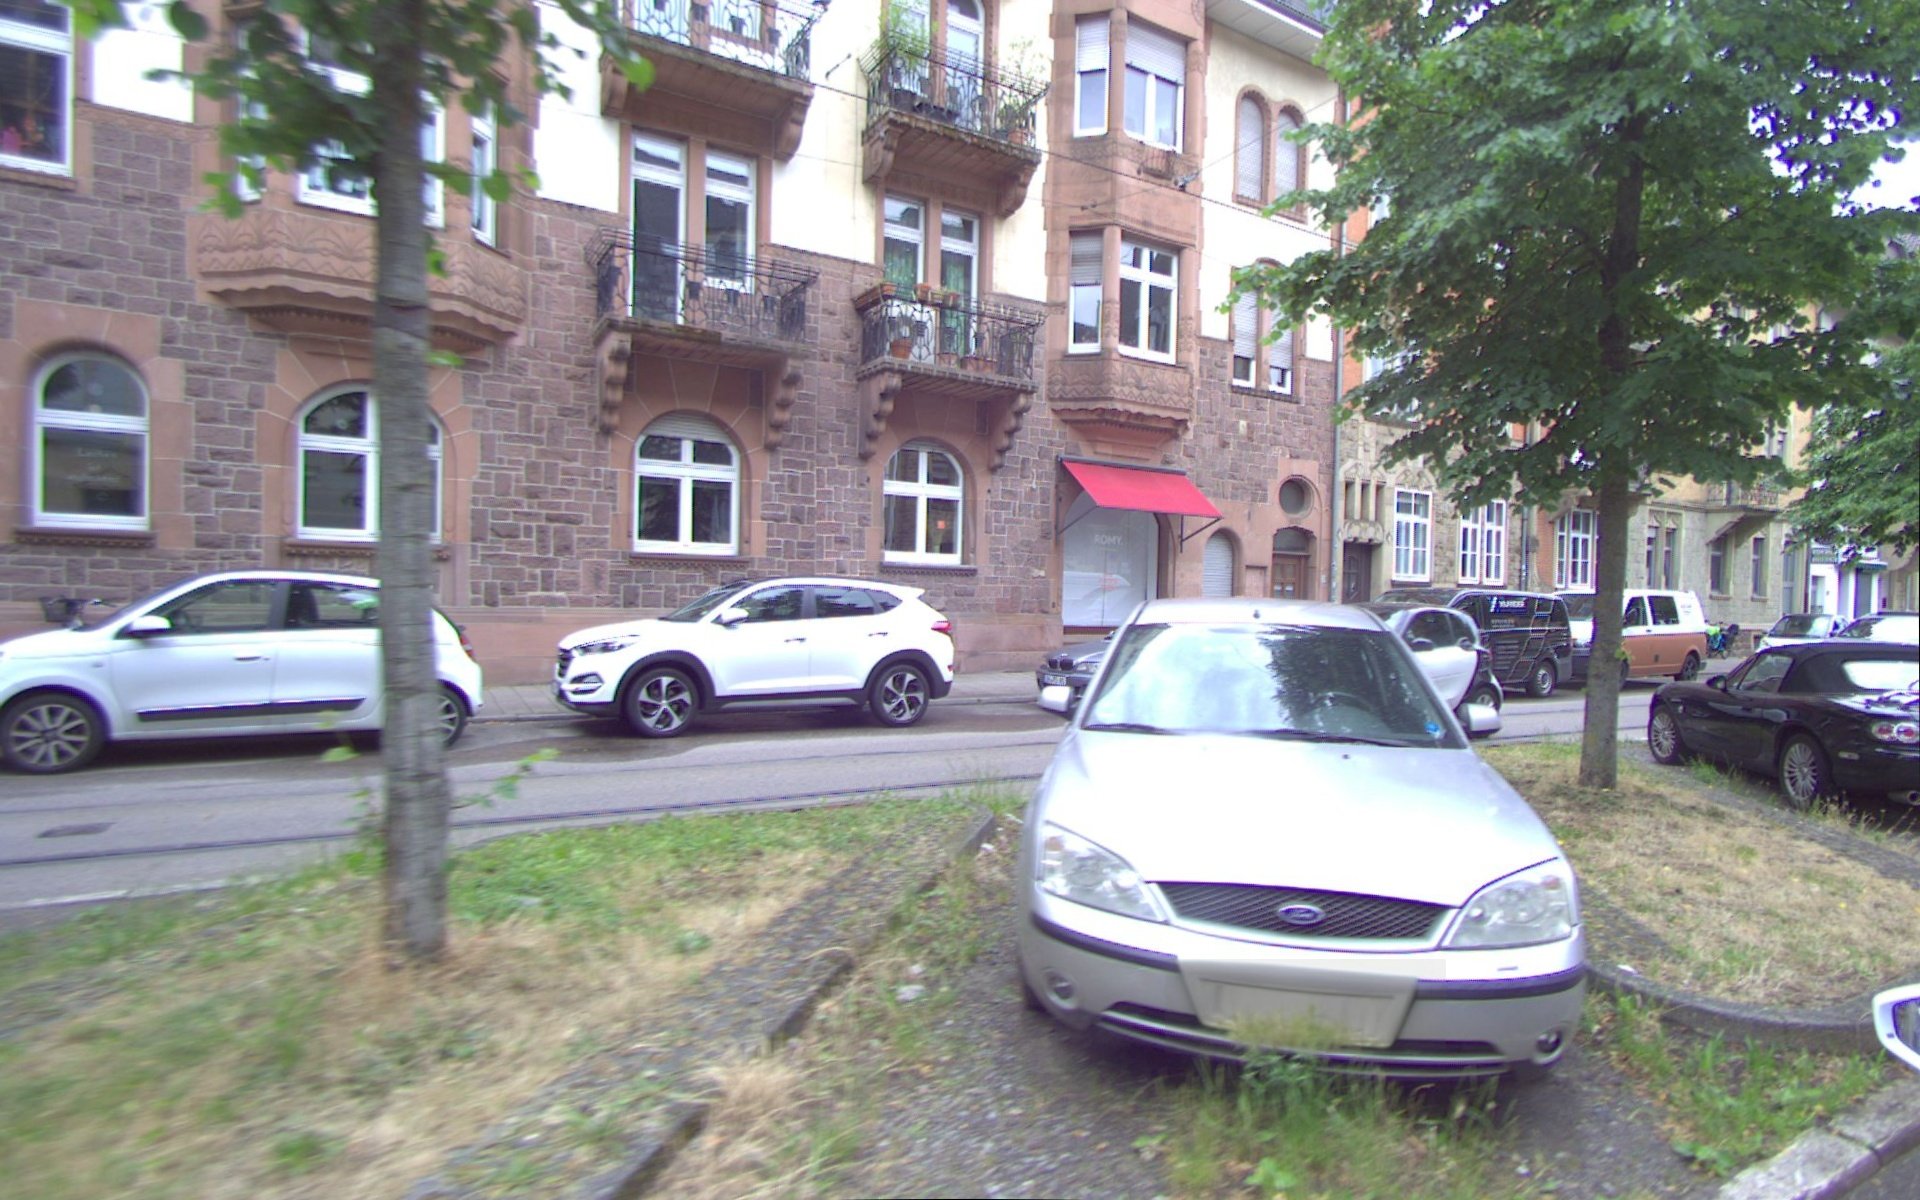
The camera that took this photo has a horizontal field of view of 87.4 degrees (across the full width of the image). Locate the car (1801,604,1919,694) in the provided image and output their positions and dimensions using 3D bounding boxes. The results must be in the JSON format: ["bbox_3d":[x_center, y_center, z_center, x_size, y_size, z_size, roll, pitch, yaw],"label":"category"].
[{"bbox_3d":[19.069,0.950,20.301,4.495,1.600,1.795,2,1,-31],"label":"car"}]

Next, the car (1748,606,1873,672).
[{"bbox_3d":[21.900,0.974,25.868,2.918,1.571,1.626,1,1,-32],"label":"car"}]

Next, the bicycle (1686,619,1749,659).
[{"bbox_3d":[22.275,1.137,29.531,2.235,1.087,0.707,1,1,-32],"label":"bicycle"}]

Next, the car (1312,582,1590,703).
[{"bbox_3d":[8.494,0.692,17.230,5.059,1.805,1.804,2,1,-31],"label":"car"}]

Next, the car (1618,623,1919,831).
[{"bbox_3d":[7.185,0.886,8.301,1.634,1.218,3.964,2,1,13],"label":"car"}]

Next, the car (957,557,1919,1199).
[{"bbox_3d":[1.358,0.611,4.245,1.722,1.386,4.670,2,1,13],"label":"car"}]

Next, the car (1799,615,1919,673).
[{"bbox_3d":[25.136,1.194,27.935,3.880,1.462,1.625,1,1,-32],"label":"car"}]

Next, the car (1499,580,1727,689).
[{"bbox_3d":[13.399,0.682,20.526,5.036,1.978,1.871,2,1,-31],"label":"car"}]

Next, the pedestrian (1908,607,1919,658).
[{"bbox_3d":[34.229,1.152,35.525,0.890,1.790,0.793,1,1,-31],"label":"pedestrian"}]

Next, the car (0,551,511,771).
[{"bbox_3d":[-5.996,0.456,8.691,3.680,1.580,1.653,2,1,-31],"label":"car"}]

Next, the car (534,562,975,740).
[{"bbox_3d":[-2.206,0.508,11.222,4.502,1.648,1.731,2,1,-31],"label":"car"}]

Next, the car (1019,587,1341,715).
[{"bbox_3d":[3.186,0.671,14.259,4.502,1.562,1.731,2,1,-31],"label":"car"}]

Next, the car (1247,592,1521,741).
[{"bbox_3d":[5.036,0.723,11.919,2.859,1.535,1.596,2,1,-31],"label":"car"}]
